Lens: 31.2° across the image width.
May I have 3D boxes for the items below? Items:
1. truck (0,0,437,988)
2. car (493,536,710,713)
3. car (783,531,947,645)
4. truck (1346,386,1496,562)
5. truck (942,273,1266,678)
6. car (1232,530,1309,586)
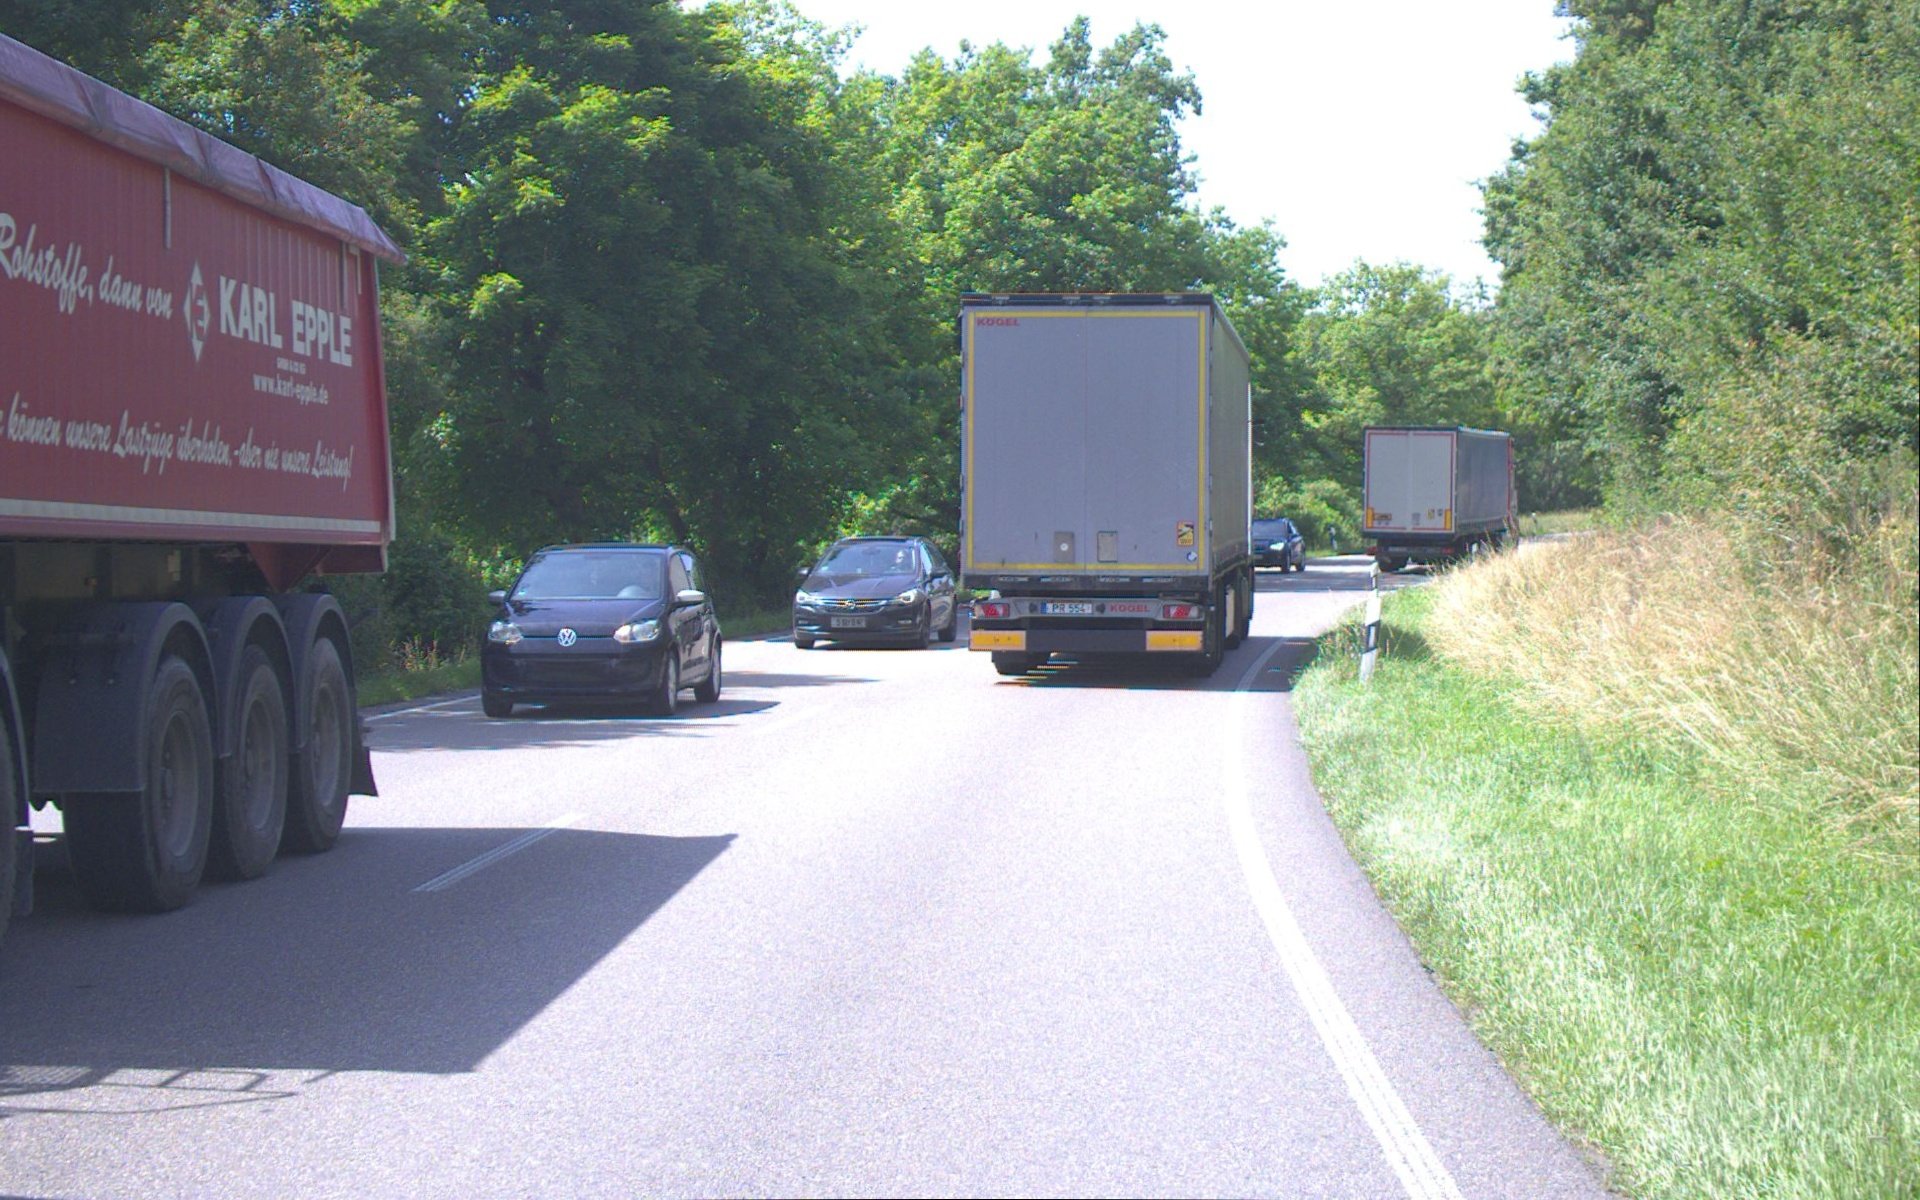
[{"bbox_3d":[-4.355,-0.476,12.344,2.552,3.440,12.634,0,1,2],"label":"truck"},{"bbox_3d":[-3.095,0.172,30.204,1.429,1.466,3.272,0,1,2],"label":"car"},{"bbox_3d":[-1.231,-0.200,46.523,1.710,1.466,4.374,0,1,5],"label":"car"},{"bbox_3d":[13.697,-3.737,100.933,3.106,4.689,16.582,-1,2,12],"label":"truck"},{"bbox_3d":[2.115,-1.440,42.206,2.802,4.054,15.322,0,1,7],"label":"truck"},{"bbox_3d":[8.717,-1.185,96.304,1.671,1.526,3.956,0,1,12],"label":"car"}]
